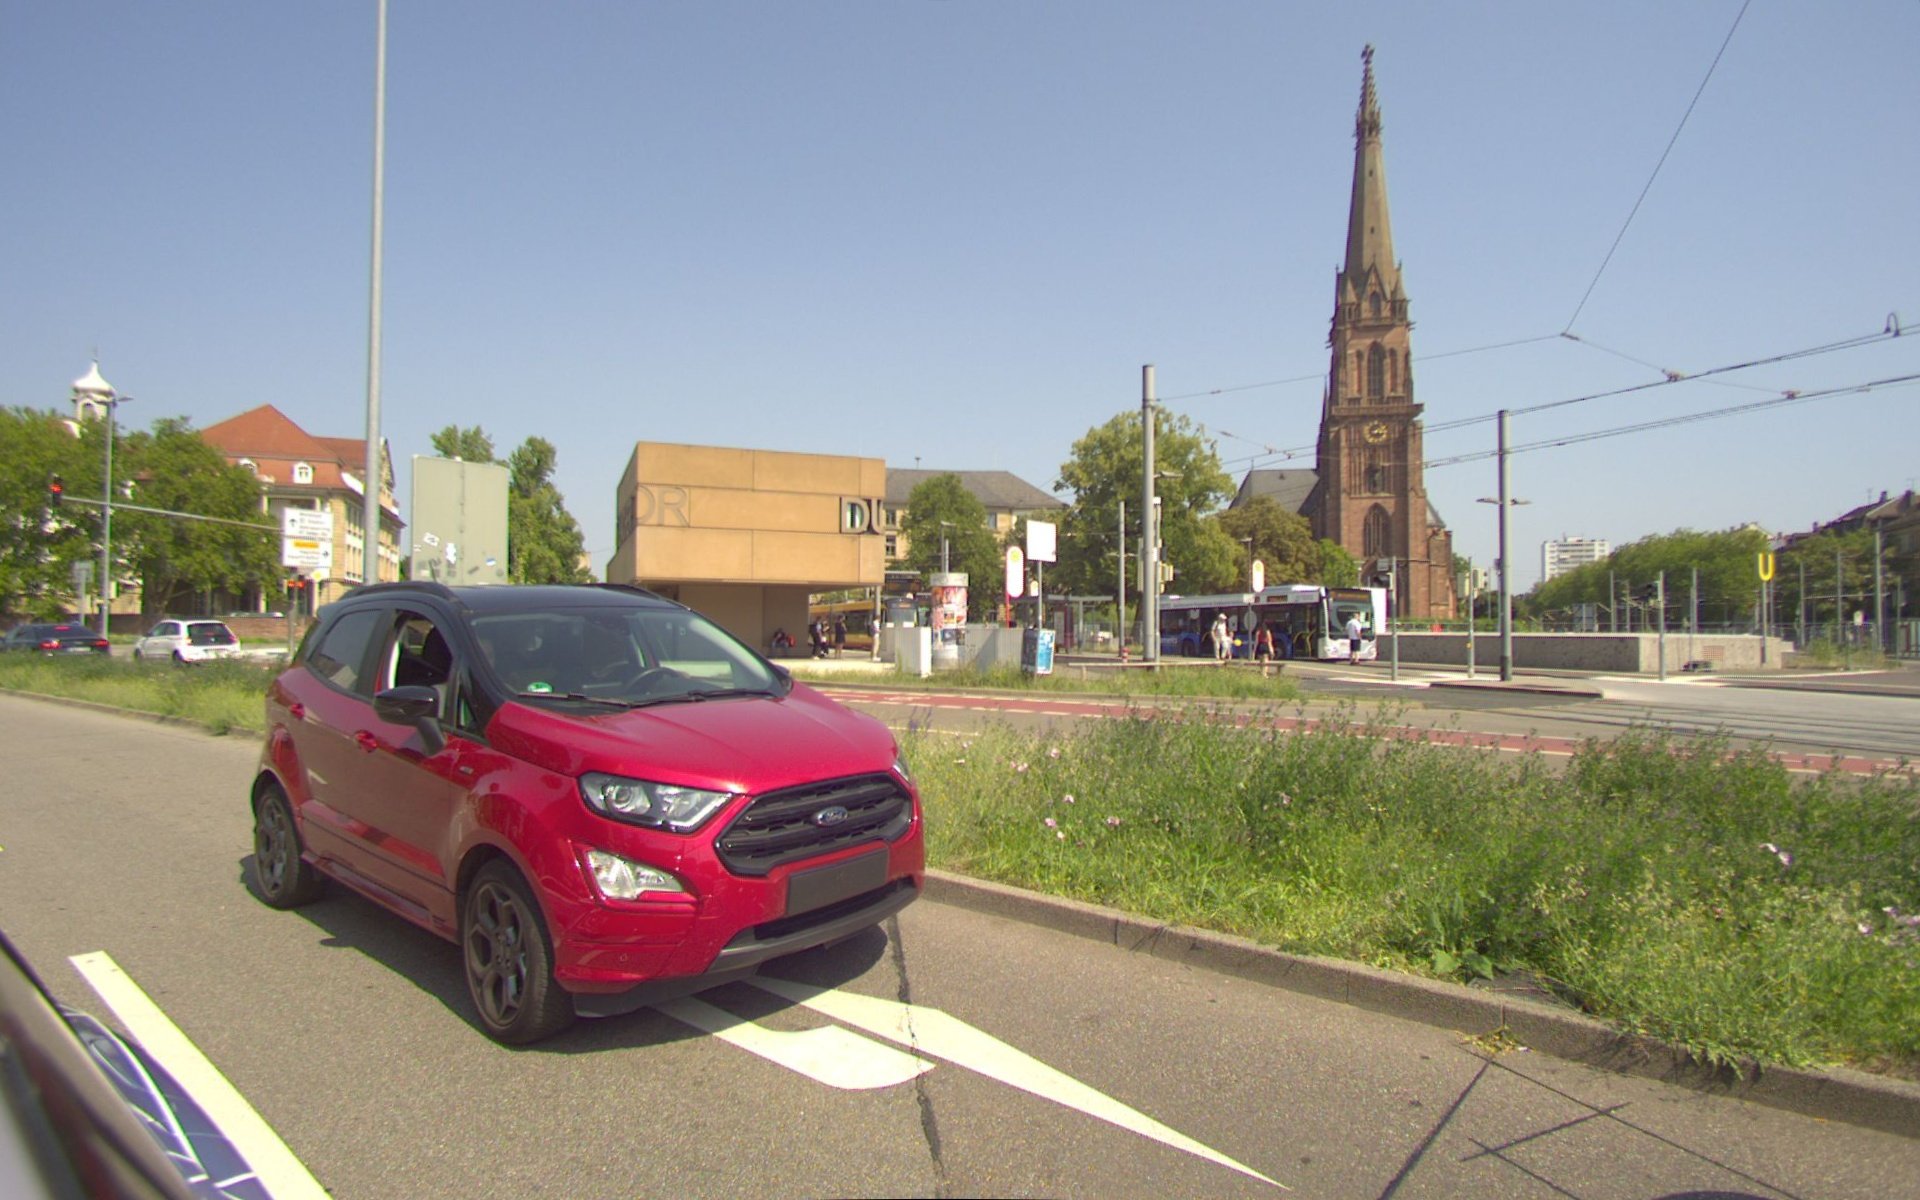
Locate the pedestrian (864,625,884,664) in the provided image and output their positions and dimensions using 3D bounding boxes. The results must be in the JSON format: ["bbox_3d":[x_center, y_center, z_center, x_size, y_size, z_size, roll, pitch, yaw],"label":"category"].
[{"bbox_3d":[-3.374,1.738,39.642,0.541,1.508,0.532,-1,-3,39],"label":"pedestrian"}]

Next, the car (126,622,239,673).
[{"bbox_3d":[-24.077,1.454,31.325,3.462,1.490,1.511,-1,-2,29],"label":"car"}]

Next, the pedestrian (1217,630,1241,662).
[{"bbox_3d":[9.952,1.698,37.457,0.627,1.134,0.603,-1,0,-15],"label":"pedestrian"}]

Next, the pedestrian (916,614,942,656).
[{"bbox_3d":[-1.134,1.277,36.736,0.605,1.508,0.761,-1,-3,39],"label":"pedestrian"}]

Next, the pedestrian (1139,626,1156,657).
[{"bbox_3d":[10.457,2.304,56.539,0.765,1.720,0.700,-1,-2,29],"label":"pedestrian"}]

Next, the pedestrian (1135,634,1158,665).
[{"bbox_3d":[10.406,2.770,56.462,0.832,1.709,0.961,1,-2,-21],"label":"pedestrian"}]

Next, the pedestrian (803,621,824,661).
[{"bbox_3d":[-5.615,1.562,38.798,0.541,1.508,0.532,-1,-3,39],"label":"pedestrian"}]

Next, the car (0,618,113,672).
[{"bbox_3d":[-25.455,1.236,28.440,3.466,1.437,1.510,-1,-2,32],"label":"car"}]

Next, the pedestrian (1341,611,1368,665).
[{"bbox_3d":[13.667,1.309,35.071,0.591,1.825,0.640,-1,0,-34],"label":"pedestrian"}]

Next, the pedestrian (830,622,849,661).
[{"bbox_3d":[-4.710,1.623,39.579,0.541,1.508,0.532,-1,-3,39],"label":"pedestrian"}]

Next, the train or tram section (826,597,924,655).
[{"bbox_3d":[-5.893,1.771,66.799,2.658,3.465,13.464,1,-2,-21],"label":"train or tram section"}]

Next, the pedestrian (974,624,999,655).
[{"bbox_3d":[1.453,2.172,56.404,1.060,1.709,1.068,1,-2,-21],"label":"pedestrian"}]

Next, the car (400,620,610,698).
[{"bbox_3d":[-10.293,1.270,22.806,4.697,1.597,1.979,-1,-2,30],"label":"car"}]

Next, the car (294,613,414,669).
[{"bbox_3d":[-21.040,1.389,35.111,3.898,1.868,1.851,0,-2,29],"label":"car"}]

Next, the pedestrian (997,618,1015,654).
[{"bbox_3d":[2.366,1.846,52.090,0.792,1.837,0.535,1,-2,-21],"label":"pedestrian"}]

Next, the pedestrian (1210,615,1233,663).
[{"bbox_3d":[9.492,1.420,36.692,0.527,1.724,0.695,1,-2,-14],"label":"pedestrian"}]

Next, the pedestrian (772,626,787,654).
[{"bbox_3d":[-7.199,1.582,40.319,0.530,1.108,0.543,1,-2,-18],"label":"pedestrian"}]

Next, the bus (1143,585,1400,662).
[{"bbox_3d":[12.388,1.026,42.397,3.346,2.733,12.382,1,-2,-21],"label":"bus"}]

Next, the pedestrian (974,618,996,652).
[{"bbox_3d":[1.398,1.957,56.405,0.913,1.837,0.940,1,-2,-21],"label":"pedestrian"}]

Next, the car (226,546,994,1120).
[{"bbox_3d":[-1.867,0.681,4.718,3.842,1.598,1.673,-1,-1,40],"label":"car"}]

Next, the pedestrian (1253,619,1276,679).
[{"bbox_3d":[9.426,1.505,31.325,0.632,1.825,0.599,-1,0,15],"label":"pedestrian"}]
